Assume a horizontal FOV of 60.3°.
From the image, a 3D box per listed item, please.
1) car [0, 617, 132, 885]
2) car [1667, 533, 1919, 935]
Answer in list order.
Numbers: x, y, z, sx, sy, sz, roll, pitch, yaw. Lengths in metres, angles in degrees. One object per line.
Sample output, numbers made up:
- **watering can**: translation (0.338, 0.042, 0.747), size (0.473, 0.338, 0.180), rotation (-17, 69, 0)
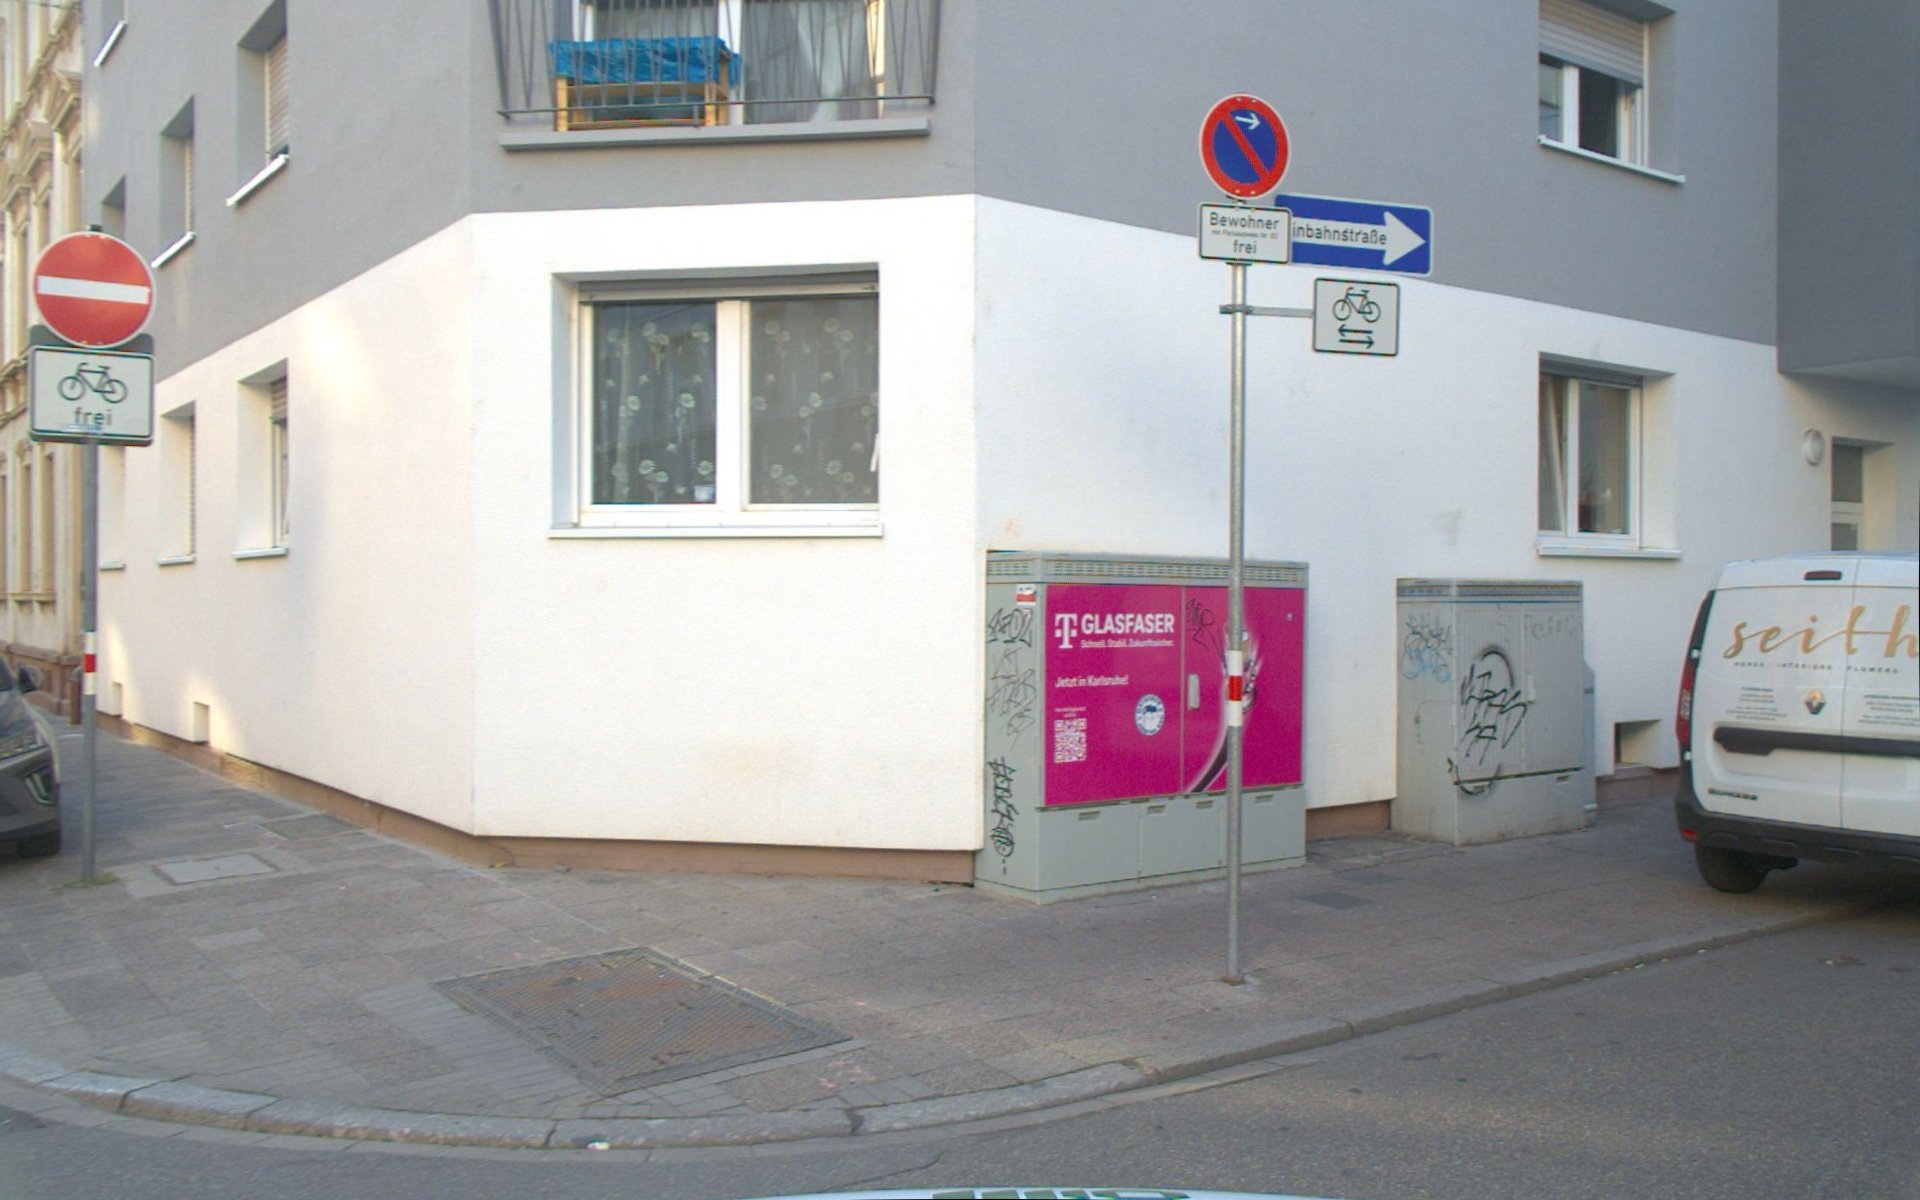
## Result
- **car**: translation (-6.592, 0.866, 10.271), size (1.924, 1.396, 3.739), rotation (-3, 2, -37)
- **car**: translation (5.798, 0.584, 9.181), size (4.140, 1.845, 1.615), rotation (-1, 0, -37)
